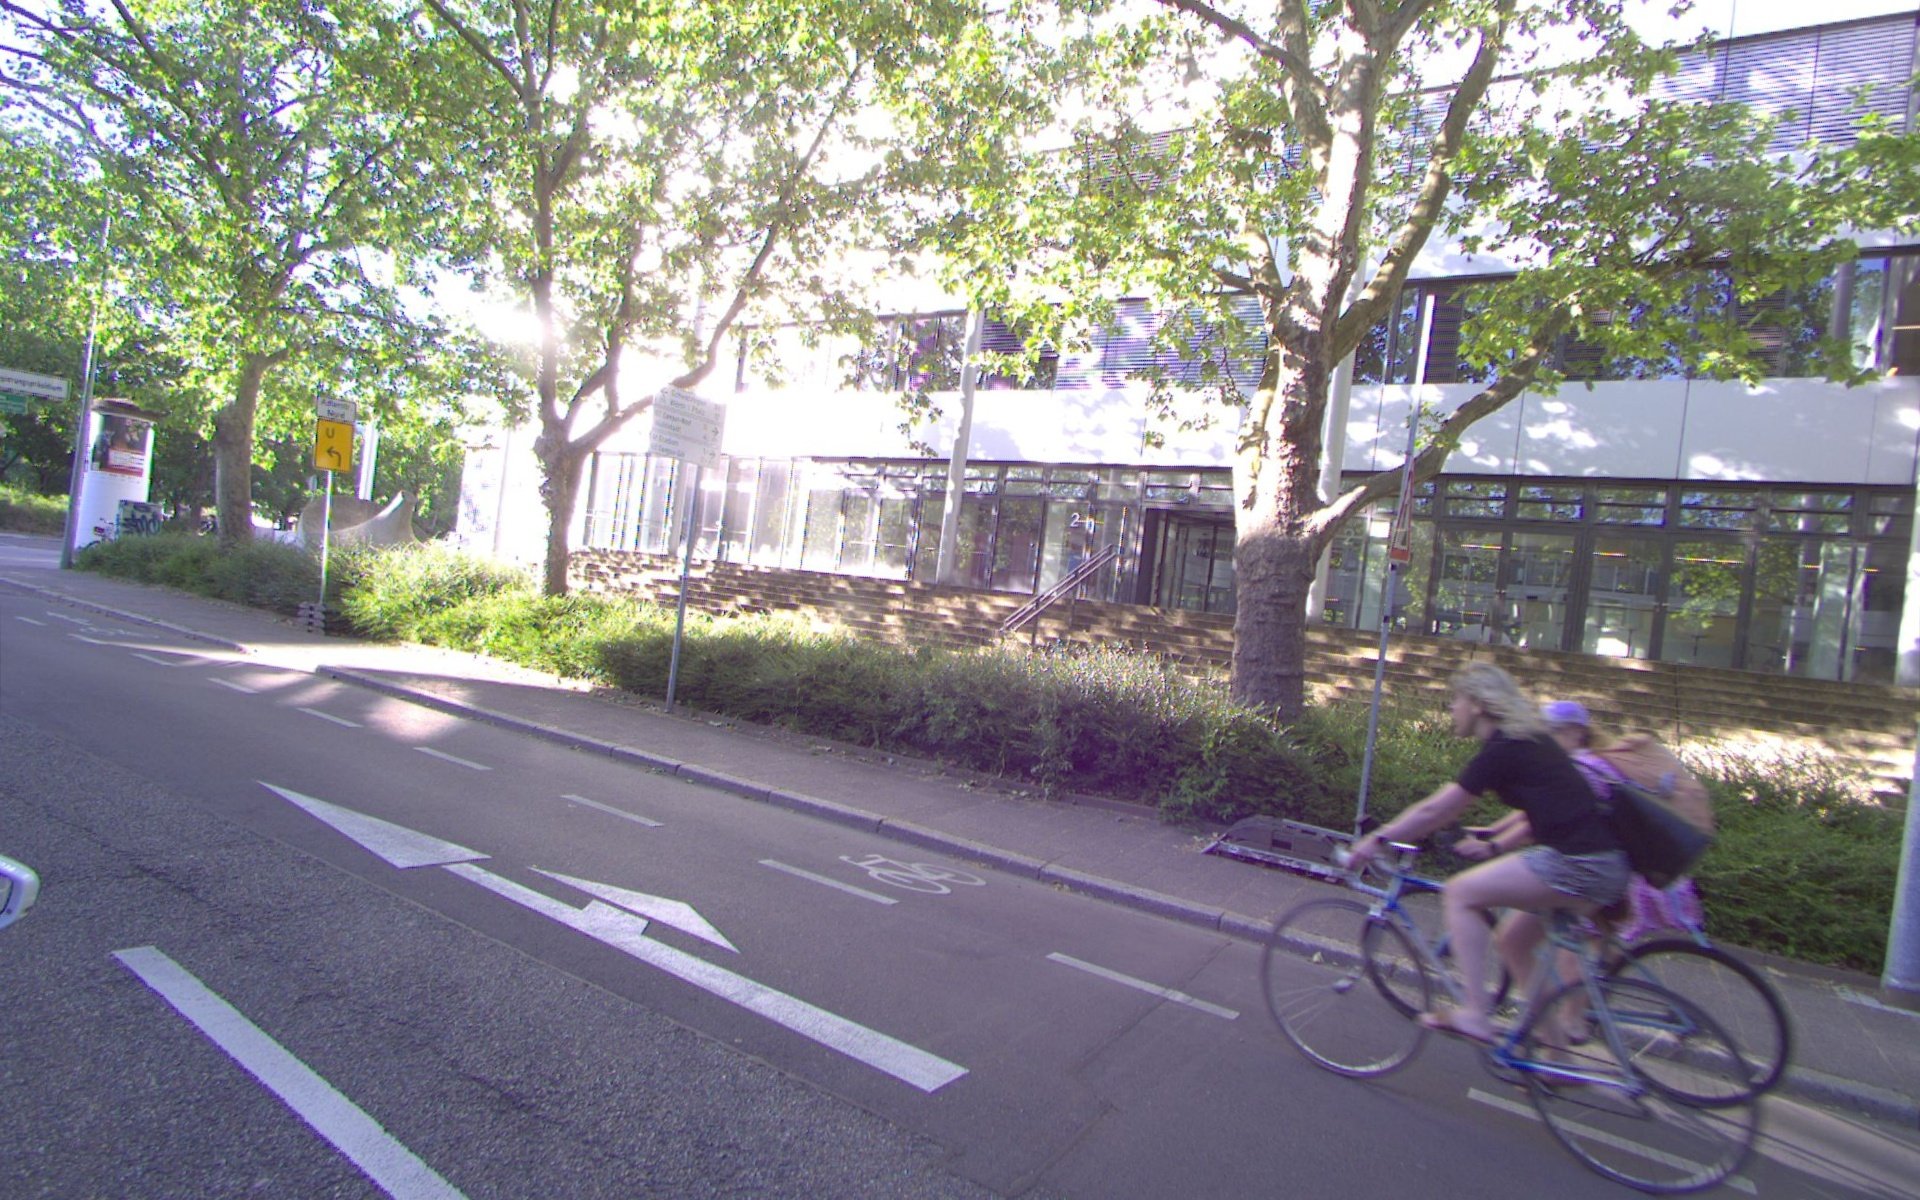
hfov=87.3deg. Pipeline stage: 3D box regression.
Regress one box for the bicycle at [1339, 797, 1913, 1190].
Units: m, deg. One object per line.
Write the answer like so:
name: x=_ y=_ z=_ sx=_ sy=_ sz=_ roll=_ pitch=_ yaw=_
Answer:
bicycle: x=2.715 y=1.550 z=4.337 sx=1.850 sy=0.996 sz=0.602 roll=7 pitch=-2 yaw=32

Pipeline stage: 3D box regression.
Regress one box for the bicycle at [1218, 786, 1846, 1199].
bicycle: x=1.908 y=1.361 z=3.586 sx=1.702 sy=1.038 sz=0.611 roll=7 pitch=-2 yaw=32

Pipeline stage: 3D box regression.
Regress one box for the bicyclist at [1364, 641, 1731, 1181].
bicyclist: x=2.029 y=0.982 z=3.539 sx=0.875 sy=1.533 sz=0.611 roll=7 pitch=-2 yaw=32

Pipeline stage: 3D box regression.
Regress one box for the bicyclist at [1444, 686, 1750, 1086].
bicyclist: x=2.732 y=1.157 z=4.386 sx=0.915 sy=1.417 sz=0.602 roll=7 pitch=-2 yaw=32

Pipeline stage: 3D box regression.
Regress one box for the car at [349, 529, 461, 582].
car: x=-25.888 y=-2.048 z=47.004 sx=1.969 sy=1.805 sz=3.998 roll=7 pitch=-1 yaw=37

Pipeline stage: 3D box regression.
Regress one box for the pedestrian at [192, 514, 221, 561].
pedestrian: x=-31.399 y=-2.600 z=41.908 sx=0.620 sy=1.805 sz=0.620 roll=7 pitch=0 yaw=34

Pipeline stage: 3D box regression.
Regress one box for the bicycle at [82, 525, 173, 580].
bicycle: x=-19.089 y=-1.086 z=23.093 sx=0.529 sy=1.049 sz=1.418 roll=7 pitch=-1 yaw=28
